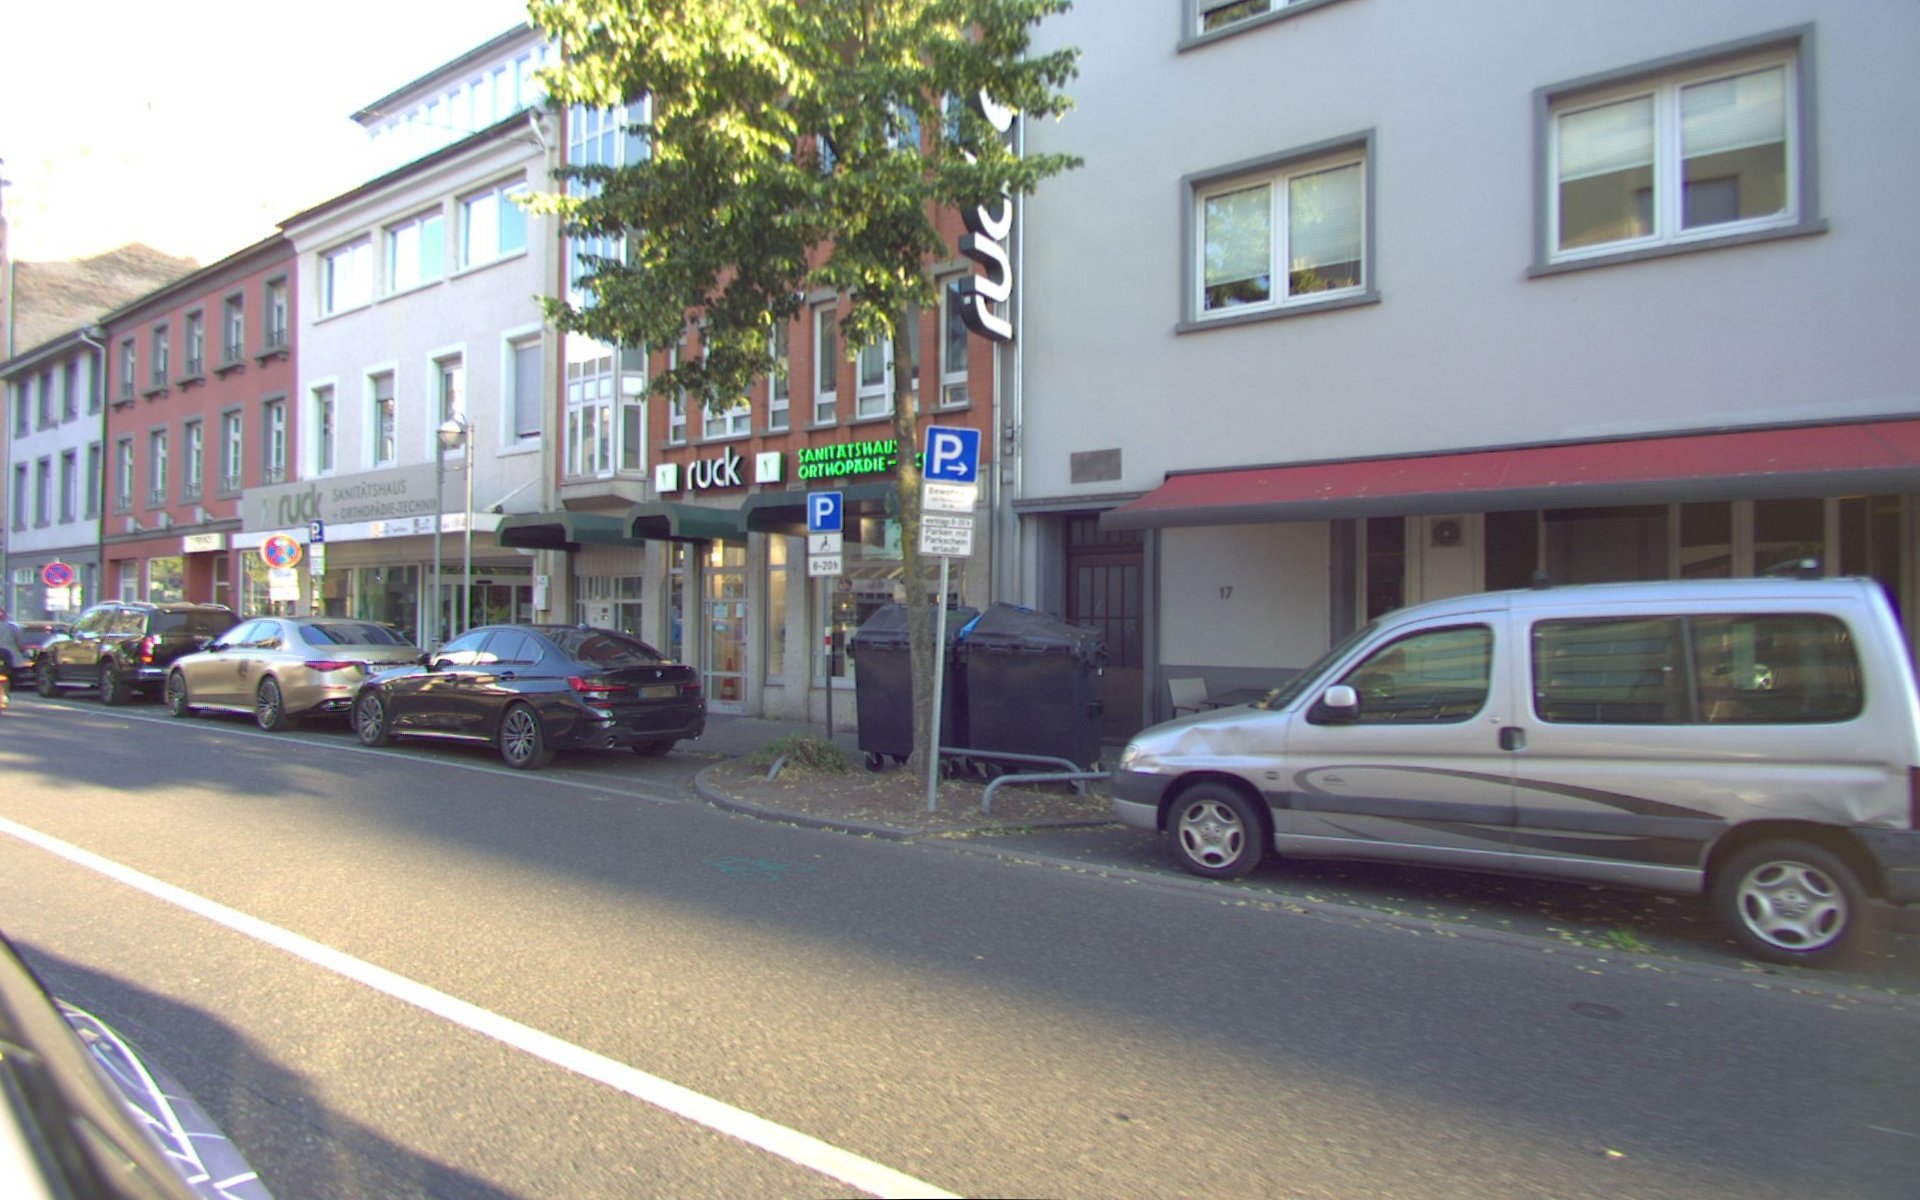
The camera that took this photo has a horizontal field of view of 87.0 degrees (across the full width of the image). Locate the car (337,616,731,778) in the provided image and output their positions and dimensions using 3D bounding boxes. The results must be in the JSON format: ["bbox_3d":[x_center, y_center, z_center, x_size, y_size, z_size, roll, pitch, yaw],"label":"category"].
[{"bbox_3d":[-4.734,0.902,11.061,4.404,1.403,1.785,0,-1,32],"label":"car"}]

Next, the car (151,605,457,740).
[{"bbox_3d":[-9.382,0.933,14.335,4.932,1.611,1.874,-1,-2,35],"label":"car"}]

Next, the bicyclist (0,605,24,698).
[{"bbox_3d":[-13.973,0.737,14.581,0.658,1.312,0.563,0,1,32],"label":"bicyclist"}]

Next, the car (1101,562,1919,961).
[{"bbox_3d":[2.987,0.662,5.847,3.984,1.676,1.703,0,1,30],"label":"car"}]

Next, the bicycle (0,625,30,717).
[{"bbox_3d":[-14.018,1.000,14.607,1.688,1.246,0.416,0,1,31],"label":"bicycle"}]

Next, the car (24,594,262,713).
[{"bbox_3d":[-14.910,0.923,18.386,4.933,1.898,1.952,-1,-2,33],"label":"car"}]

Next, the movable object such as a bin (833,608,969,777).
[{"bbox_3d":[-0.584,0.868,9.996,1.097,1.547,0.740,-1,0,33],"label":"movable object such as a bin"}]

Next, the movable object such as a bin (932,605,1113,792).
[{"bbox_3d":[0.563,0.832,9.250,1.480,1.555,0.745,0,1,33],"label":"movable object such as a bin"}]

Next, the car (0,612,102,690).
[{"bbox_3d":[-20.102,1.037,21.583,3.831,1.536,1.718,-1,-2,33],"label":"car"}]
